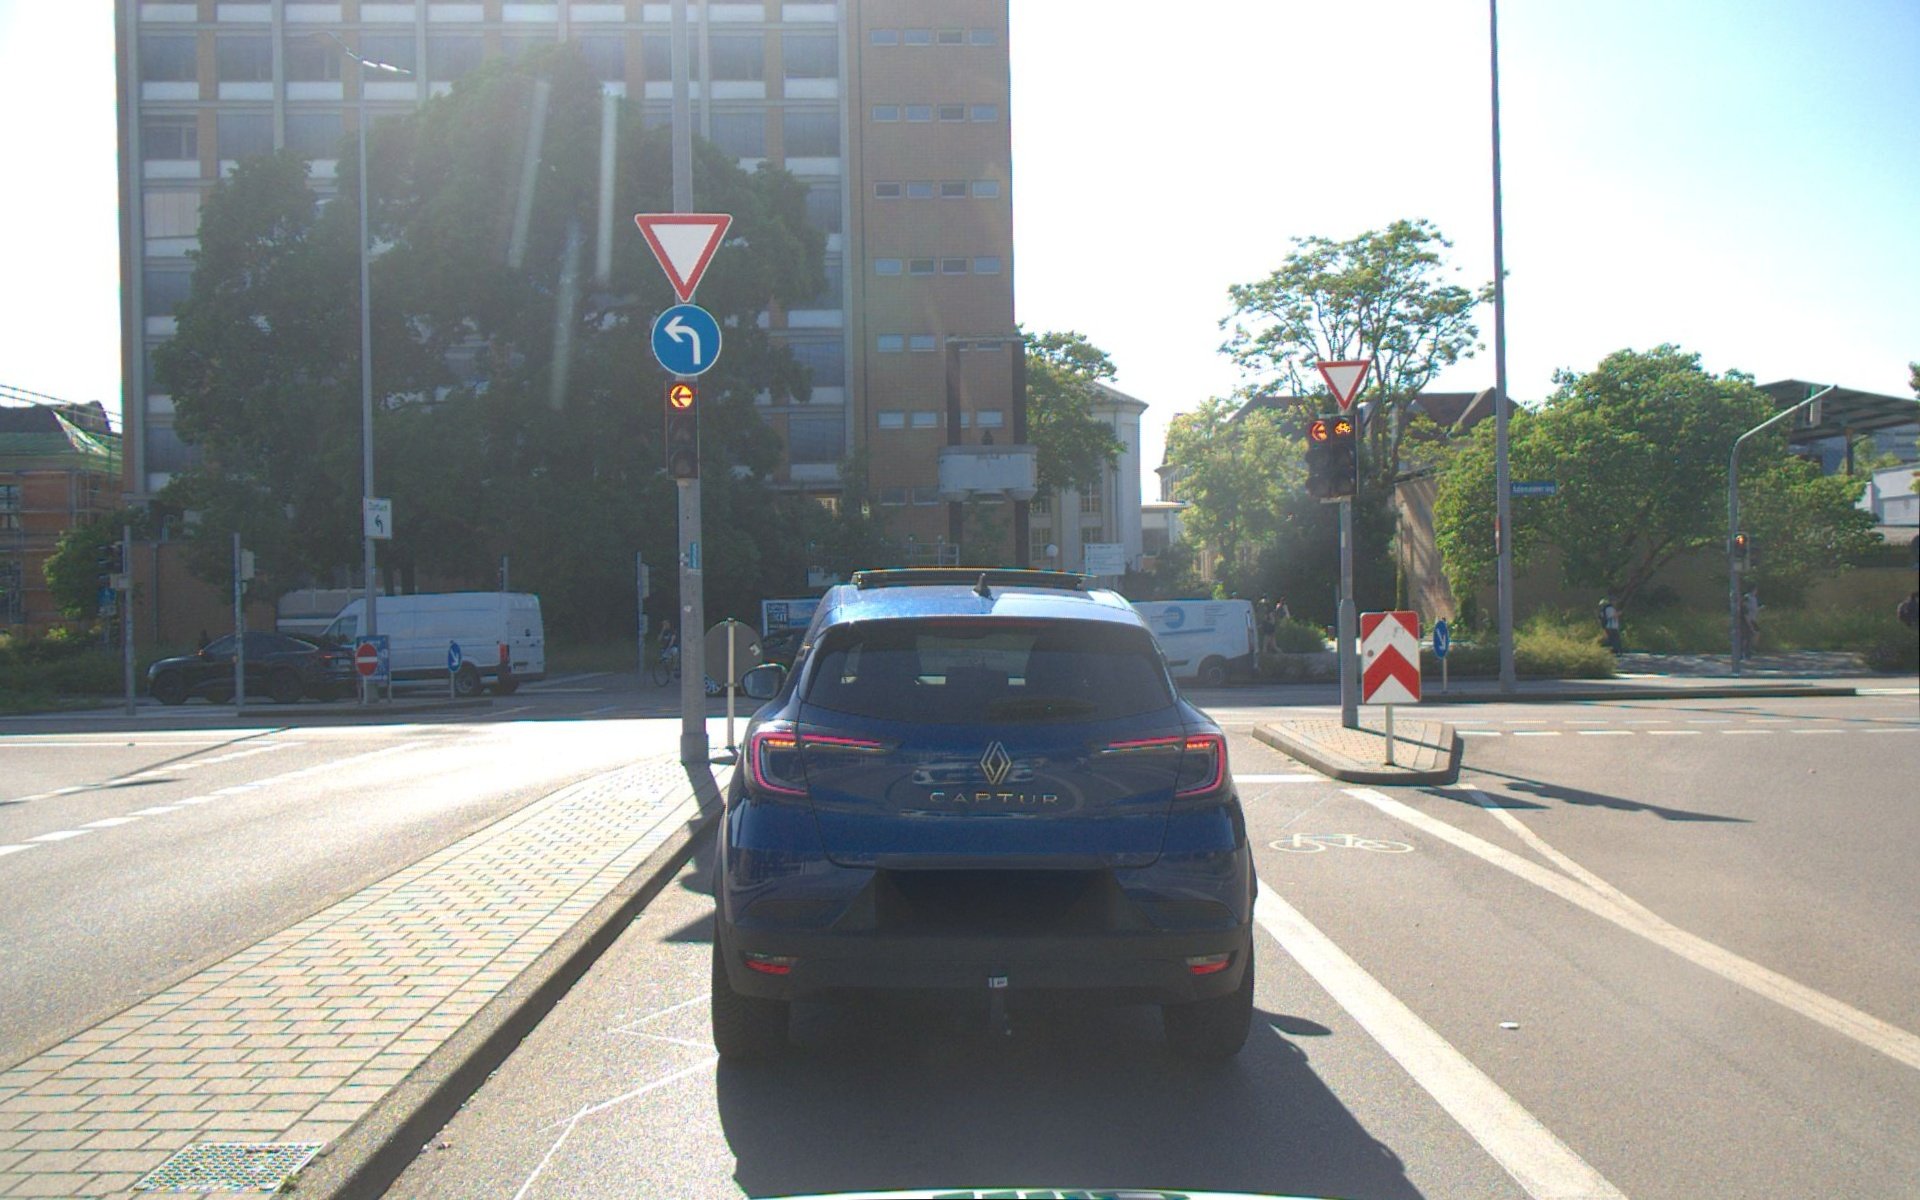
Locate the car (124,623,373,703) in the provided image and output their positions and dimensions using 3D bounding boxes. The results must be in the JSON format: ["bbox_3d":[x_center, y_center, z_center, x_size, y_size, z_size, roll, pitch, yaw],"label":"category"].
[{"bbox_3d":[-16.350,1.455,38.112,4.922,1.702,2.001,1,-3,10],"label":"car"}]

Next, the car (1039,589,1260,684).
[{"bbox_3d":[4.417,0.829,38.165,4.892,2.049,2.074,-1,0,11],"label":"car"}]

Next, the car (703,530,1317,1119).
[{"bbox_3d":[0.095,0.640,6.691,1.758,1.684,3.852,1,0,-2],"label":"car"}]

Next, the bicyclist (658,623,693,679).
[{"bbox_3d":[-7.582,1.358,44.064,0.638,1.437,0.634,-4,-3,43],"label":"bicyclist"}]

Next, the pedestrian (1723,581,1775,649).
[{"bbox_3d":[20.652,0.387,43.295,0.942,1.763,0.926,-1,0,5],"label":"pedestrian"}]

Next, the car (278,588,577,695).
[{"bbox_3d":[-13.696,1.051,42.703,6.787,2.591,3.015,-1,0,15],"label":"car"}]

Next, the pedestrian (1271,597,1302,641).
[{"bbox_3d":[12.352,0.706,62.648,0.917,1.641,1.175,-1,0,-1],"label":"pedestrian"}]

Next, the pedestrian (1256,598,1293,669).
[{"bbox_3d":[8.533,0.902,44.916,0.912,1.888,0.808,-1,0,8],"label":"pedestrian"}]

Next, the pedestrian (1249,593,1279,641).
[{"bbox_3d":[11.646,0.648,63.329,0.933,1.772,0.984,-1,0,-1],"label":"pedestrian"}]

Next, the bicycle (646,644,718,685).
[{"bbox_3d":[-7.412,1.723,44.216,0.688,1.025,1.856,-5,-4,42],"label":"bicycle"}]

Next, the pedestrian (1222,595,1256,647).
[{"bbox_3d":[11.197,0.817,66.383,1.132,2.049,1.164,-1,0,-1],"label":"pedestrian"}]

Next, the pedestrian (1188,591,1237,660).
[{"bbox_3d":[7.027,0.712,46.014,1.269,1.888,0.967,-1,0,11],"label":"pedestrian"}]

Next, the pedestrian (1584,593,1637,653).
[{"bbox_3d":[16.933,0.595,43.070,1.062,1.547,0.931,-1,0,9],"label":"pedestrian"}]

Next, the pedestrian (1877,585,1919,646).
[{"bbox_3d":[24.331,0.392,42.402,1.122,1.547,0.942,-1,0,5],"label":"pedestrian"}]

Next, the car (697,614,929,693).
[{"bbox_3d":[-3.205,1.170,36.622,4.739,1.609,2.103,-1,0,9],"label":"car"}]

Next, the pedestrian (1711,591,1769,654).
[{"bbox_3d":[19.675,0.567,41.746,1.052,1.547,0.879,-1,0,4],"label":"pedestrian"}]

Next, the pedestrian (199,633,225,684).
[{"bbox_3d":[-24.160,1.884,53.423,0.522,1.598,0.555,-1,0,24],"label":"pedestrian"}]
